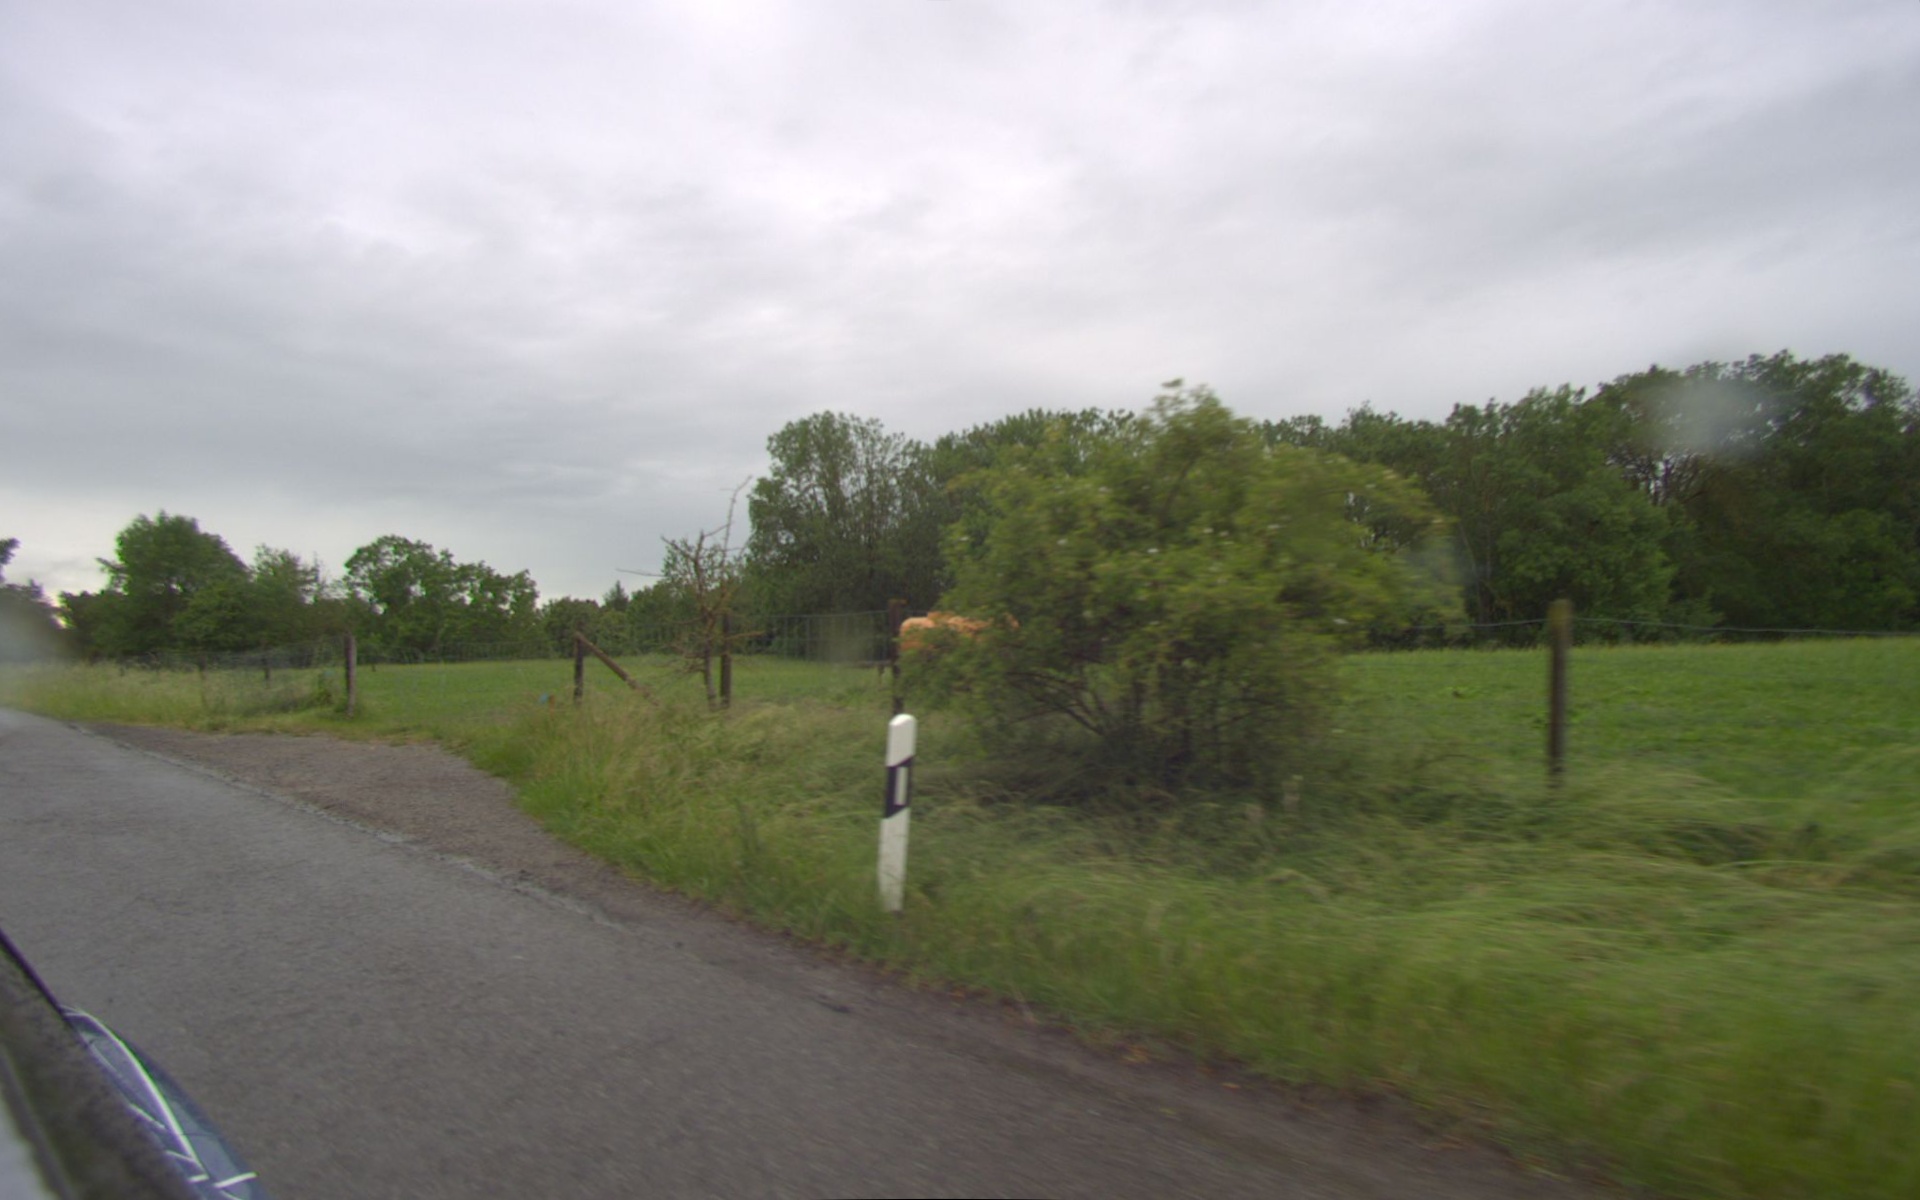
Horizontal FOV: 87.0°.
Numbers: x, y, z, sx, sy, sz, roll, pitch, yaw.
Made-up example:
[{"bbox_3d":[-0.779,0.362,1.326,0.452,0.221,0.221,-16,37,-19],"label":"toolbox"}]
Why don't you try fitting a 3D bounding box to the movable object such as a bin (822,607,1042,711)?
[{"bbox_3d":[-0.531,0.955,17.367,3.535,1.583,1.662,-2,-1,39],"label":"movable object such as a bin"}]
